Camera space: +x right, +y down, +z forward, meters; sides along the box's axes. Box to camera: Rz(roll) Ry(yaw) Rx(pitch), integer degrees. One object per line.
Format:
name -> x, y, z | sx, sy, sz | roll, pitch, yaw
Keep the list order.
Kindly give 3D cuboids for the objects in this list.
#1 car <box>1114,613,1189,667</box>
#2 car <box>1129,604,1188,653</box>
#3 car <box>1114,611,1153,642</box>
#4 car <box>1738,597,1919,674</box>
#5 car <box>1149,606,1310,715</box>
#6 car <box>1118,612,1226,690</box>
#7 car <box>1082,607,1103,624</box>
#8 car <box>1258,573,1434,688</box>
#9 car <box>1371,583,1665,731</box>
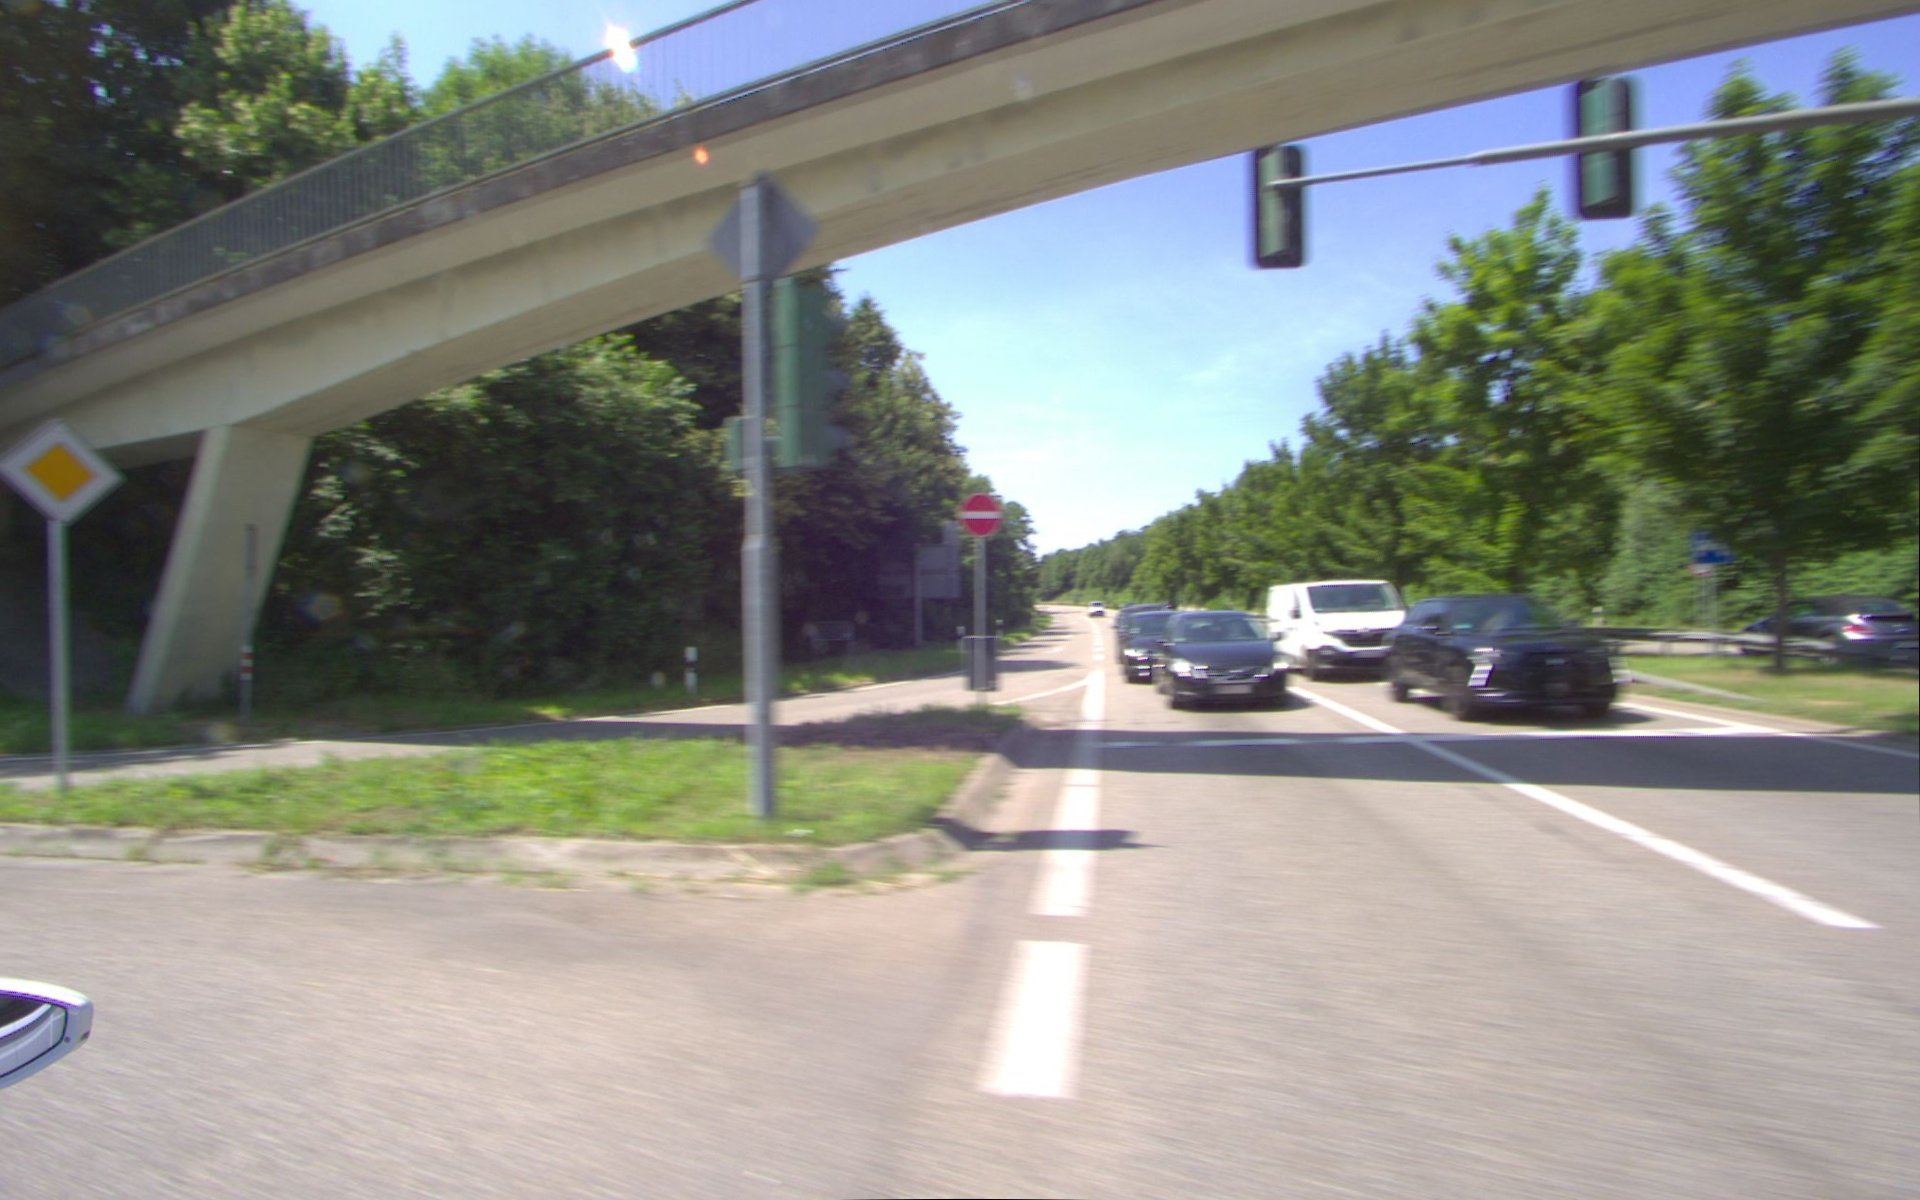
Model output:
car -> 5.586, 1.134, 29.687 | 1.976, 1.479, 4.054 | -1, -1, 8
car -> 7.105, 1.004, 36.159 | 1.832, 1.637, 4.054 | -2, -1, 8
car -> 9.786, 1.474, 56.747 | 1.976, 1.622, 4.054 | -2, -1, 8
car -> 18.940, 0.705, 21.465 | 1.870, 1.497, 3.938 | 0, 0, 8
car -> 4.136, 0.881, 16.005 | 1.976, 1.479, 4.054 | -2, -1, 8
car -> 4.472, 1.035, 21.696 | 1.976, 1.479, 4.054 | -2, -1, 8
car -> 16.014, 1.903, 121.360 | 1.961, 2.039, 4.001 | 1, -1, 0
car -> 7.762, 0.593, 20.770 | 2.173, 2.019, 5.487 | -2, -1, 8
car -> 6.995, 0.672, 13.113 | 1.962, 1.543, 4.027 | -3, -1, 8
